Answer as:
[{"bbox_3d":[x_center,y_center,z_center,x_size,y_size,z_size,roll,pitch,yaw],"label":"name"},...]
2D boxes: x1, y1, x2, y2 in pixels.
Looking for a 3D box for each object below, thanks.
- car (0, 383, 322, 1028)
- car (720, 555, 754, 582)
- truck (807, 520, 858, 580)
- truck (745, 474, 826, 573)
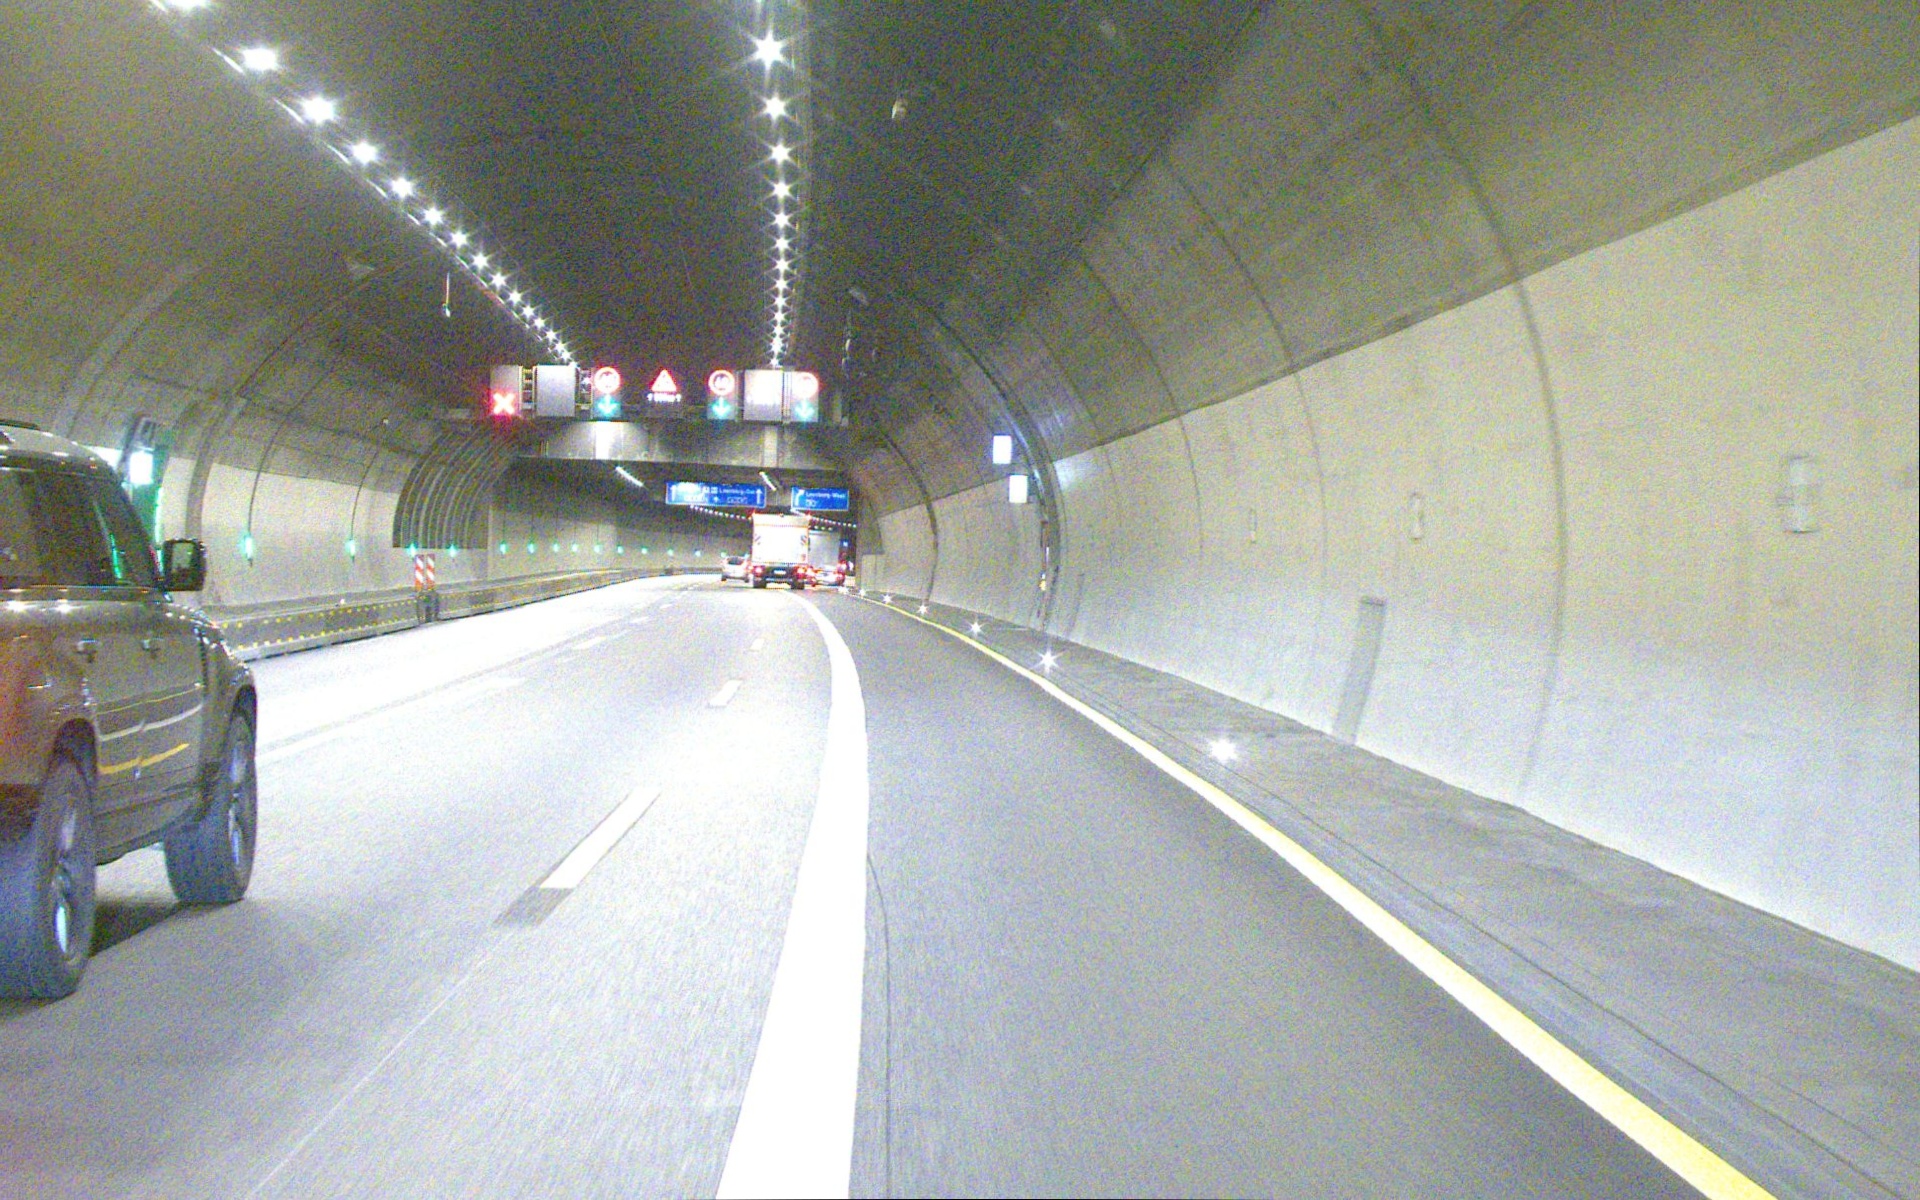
[{"bbox_3d":[-3.839,0.261,12.742,1.993,1.888,5.454,0,1,-1],"label":"car"},{"bbox_3d":[-14.005,-1.962,215.652,1.993,1.576,4.001,3,1,-4],"label":"car"},{"bbox_3d":[-9.665,-3.786,259.786,3.473,4.301,10.953,1,1,-3],"label":"truck"},{"bbox_3d":[-8.221,-3.581,161.183,3.473,4.301,10.953,3,1,-3],"label":"truck"}]
